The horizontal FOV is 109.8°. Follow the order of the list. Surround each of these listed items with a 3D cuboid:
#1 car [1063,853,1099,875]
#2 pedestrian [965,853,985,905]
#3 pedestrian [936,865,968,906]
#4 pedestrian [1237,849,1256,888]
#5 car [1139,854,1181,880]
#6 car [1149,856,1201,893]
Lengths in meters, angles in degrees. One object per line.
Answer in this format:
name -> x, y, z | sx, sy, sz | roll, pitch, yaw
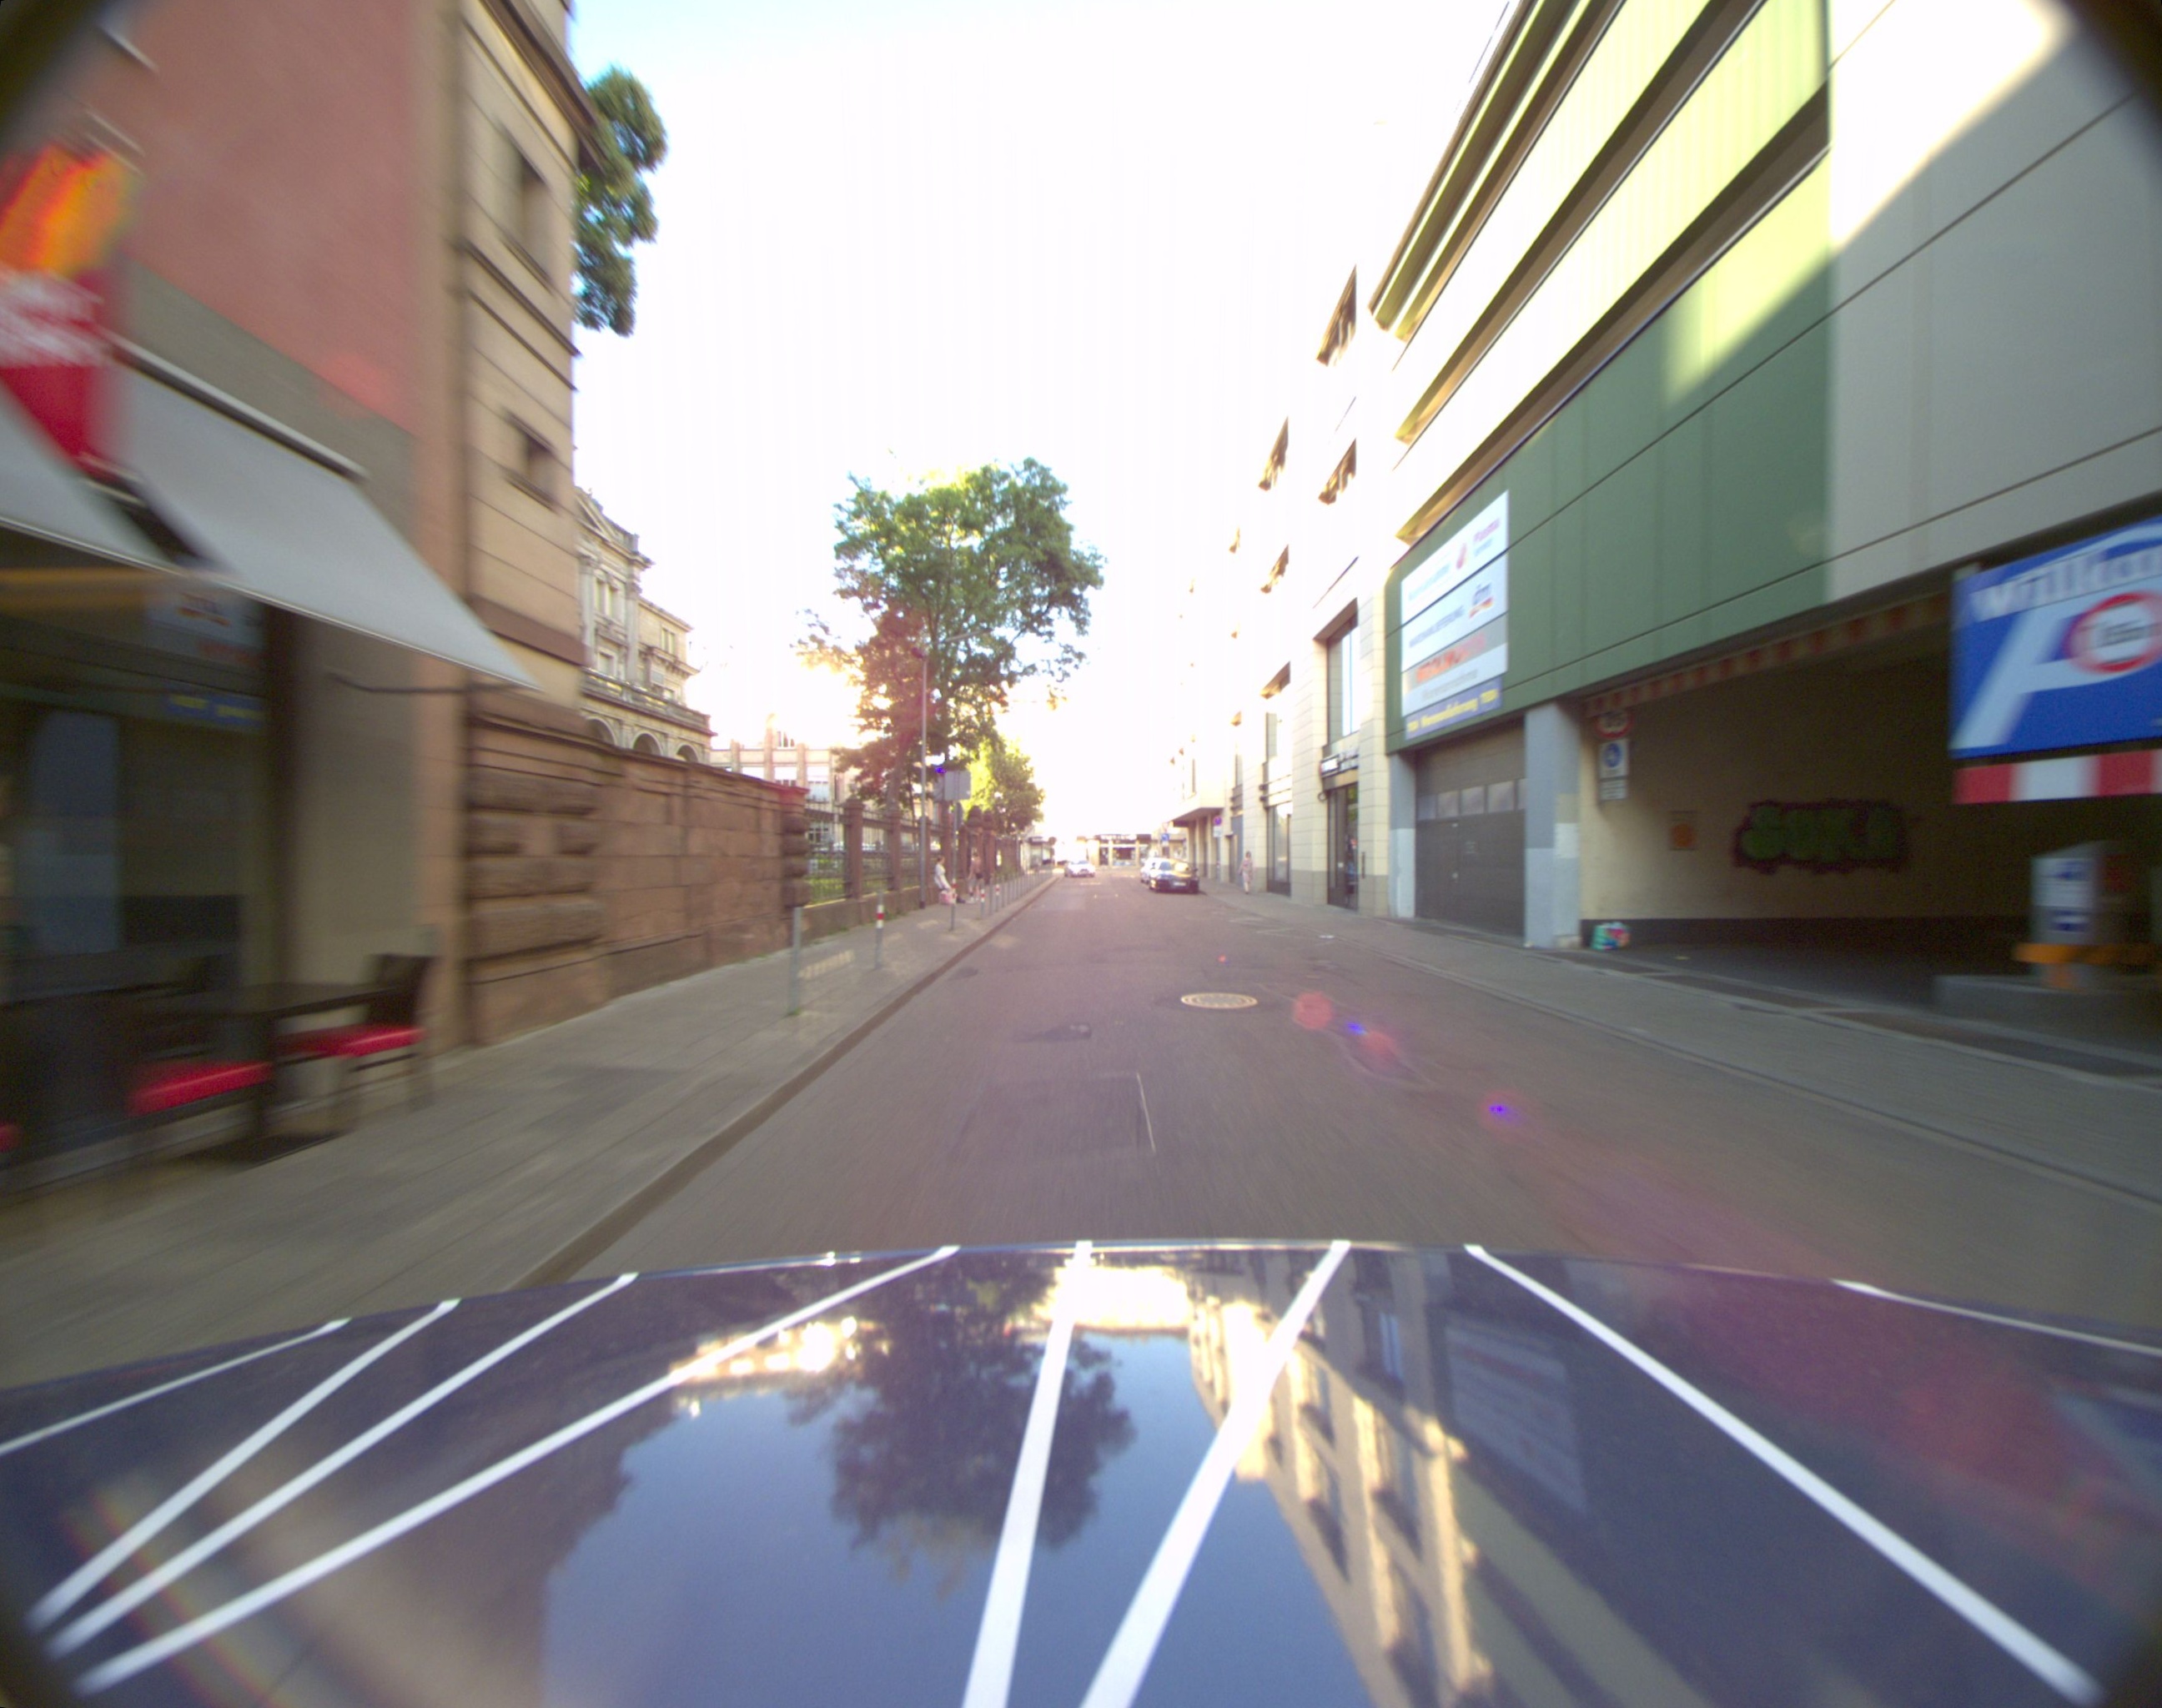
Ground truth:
car -> -0.041, 0.724, 56.636 | 1.790, 1.515, 3.996 | -3, 0, -12
pedestrian -> -3.351, 0.786, 24.035 | 0.437, 1.637, 0.557 | 1, 1, 8
pedestrian -> -4.042, 0.986, 23.824 | 0.928, 1.242, 0.362 | 1, 1, -2
pedestrian -> 6.861, 0.589, 31.561 | 0.620, 1.616, 0.565 | -1, 1, 1
car -> 4.454, 0.721, 43.443 | 1.818, 1.440, 3.628 | 0, 0, -4
car -> 4.156, 0.873, 34.155 | 1.998, 1.409, 4.559 | 1, 1, 4
